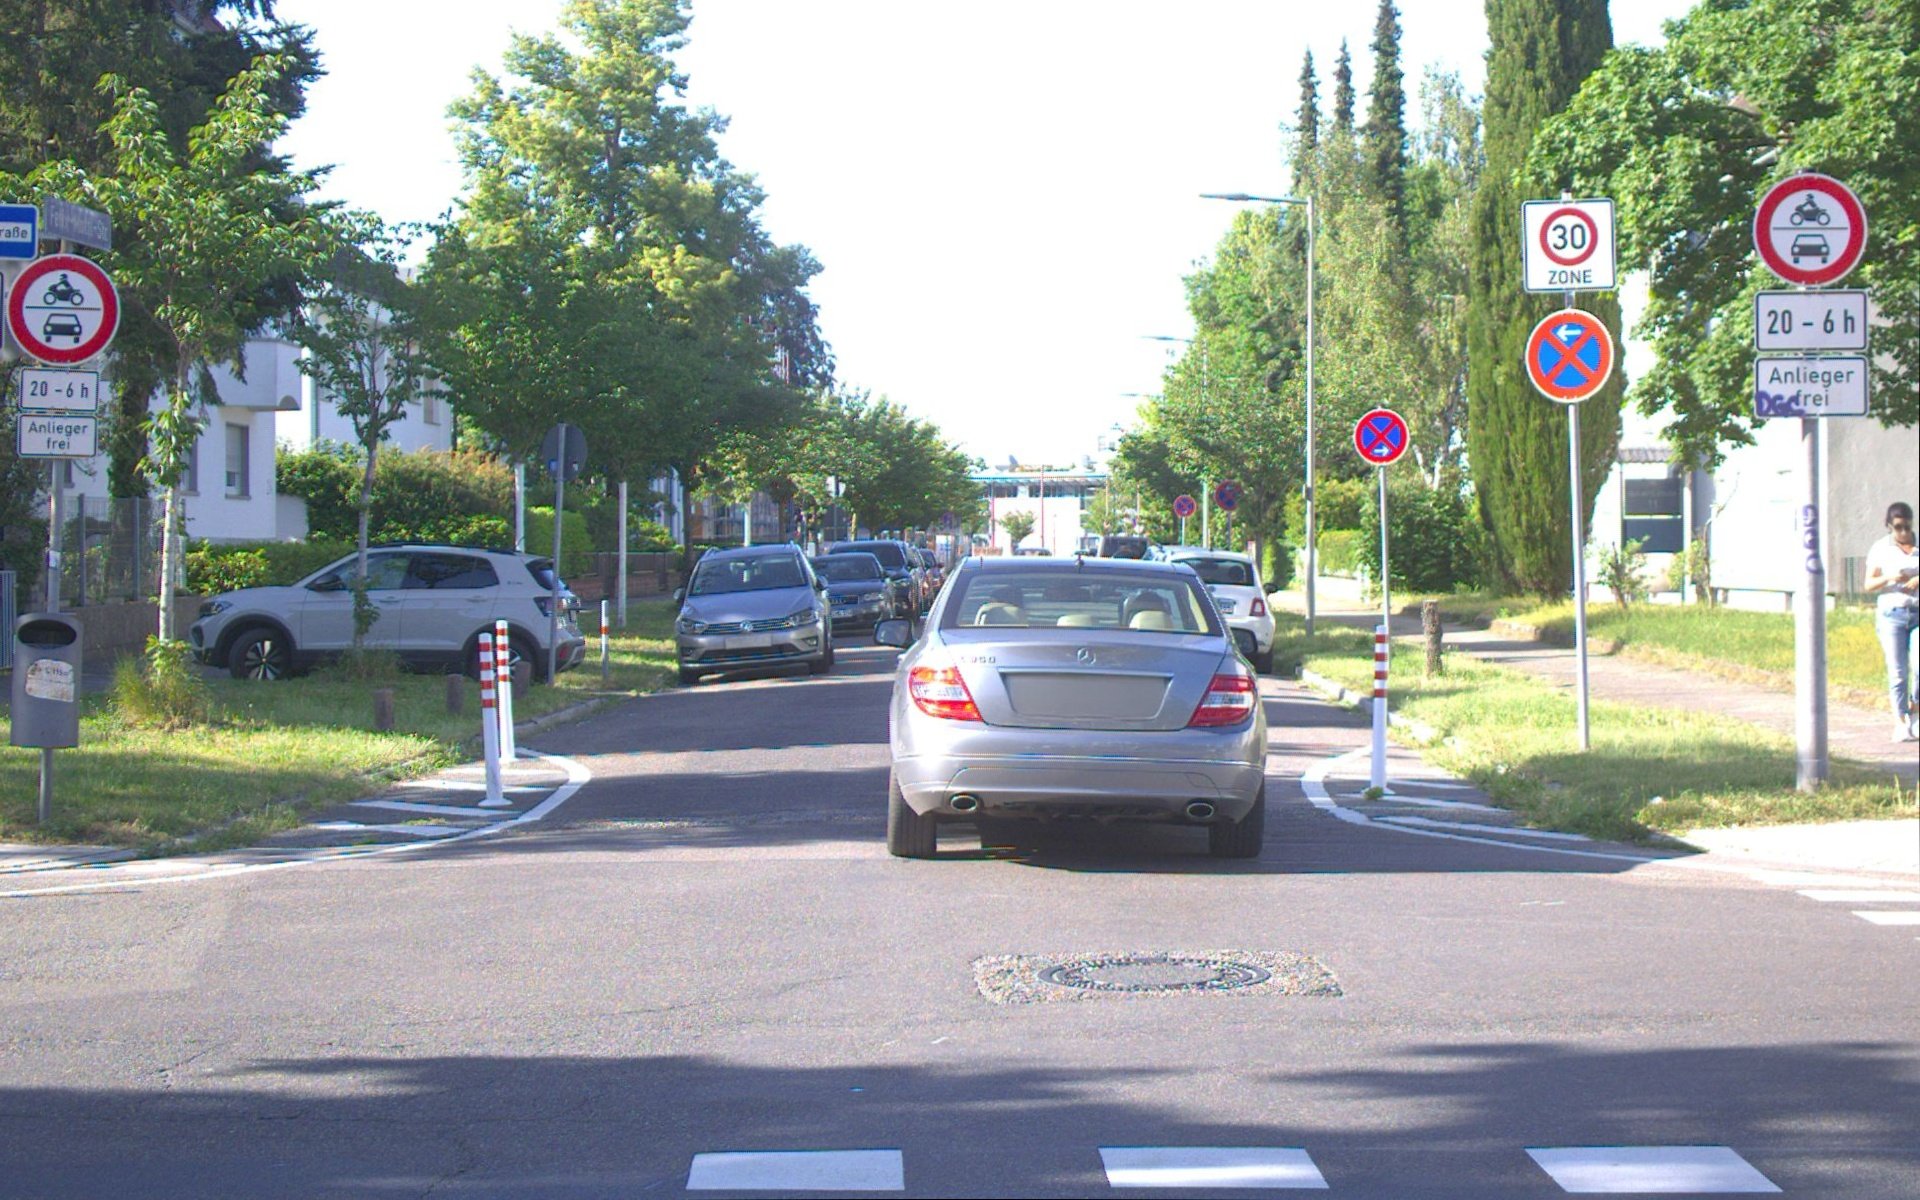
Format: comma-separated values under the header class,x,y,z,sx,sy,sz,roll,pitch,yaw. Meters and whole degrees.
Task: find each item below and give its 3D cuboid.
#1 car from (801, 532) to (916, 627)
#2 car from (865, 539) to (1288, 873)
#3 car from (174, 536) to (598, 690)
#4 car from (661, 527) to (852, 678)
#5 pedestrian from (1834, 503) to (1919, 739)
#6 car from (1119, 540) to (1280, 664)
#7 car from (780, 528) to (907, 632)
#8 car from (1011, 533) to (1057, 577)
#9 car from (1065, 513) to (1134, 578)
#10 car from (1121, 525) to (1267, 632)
class,x,y,z,sx,sy,sz,roll,pitch,yaw
car,-1.888,-0.420,65.005,1.993,1.604,4.000,-4,1,0
car,0.595,0.426,17.012,1.836,1.436,4.000,1,1,3
car,-6.013,0.120,36.364,4.192,1.558,1.842,0,1,-1
car,-2.394,-0.016,41.409,1.993,1.604,4.000,-4,1,0
pedestrian,6.517,0.136,23.857,0.766,1.605,0.834,0,1,6
car,2.994,-0.011,43.560,1.733,1.474,3.725,0,1,0
car,-1.975,-0.371,59.211,1.993,1.604,4.000,-4,1,0
car,2.729,-1.685,127.862,1.597,1.604,3.644,0,1,-1
car,4.002,-1.578,99.227,1.855,1.835,4.000,0,1,1
car,3.641,-0.368,54.136,1.993,1.604,4.000,0,1,0
